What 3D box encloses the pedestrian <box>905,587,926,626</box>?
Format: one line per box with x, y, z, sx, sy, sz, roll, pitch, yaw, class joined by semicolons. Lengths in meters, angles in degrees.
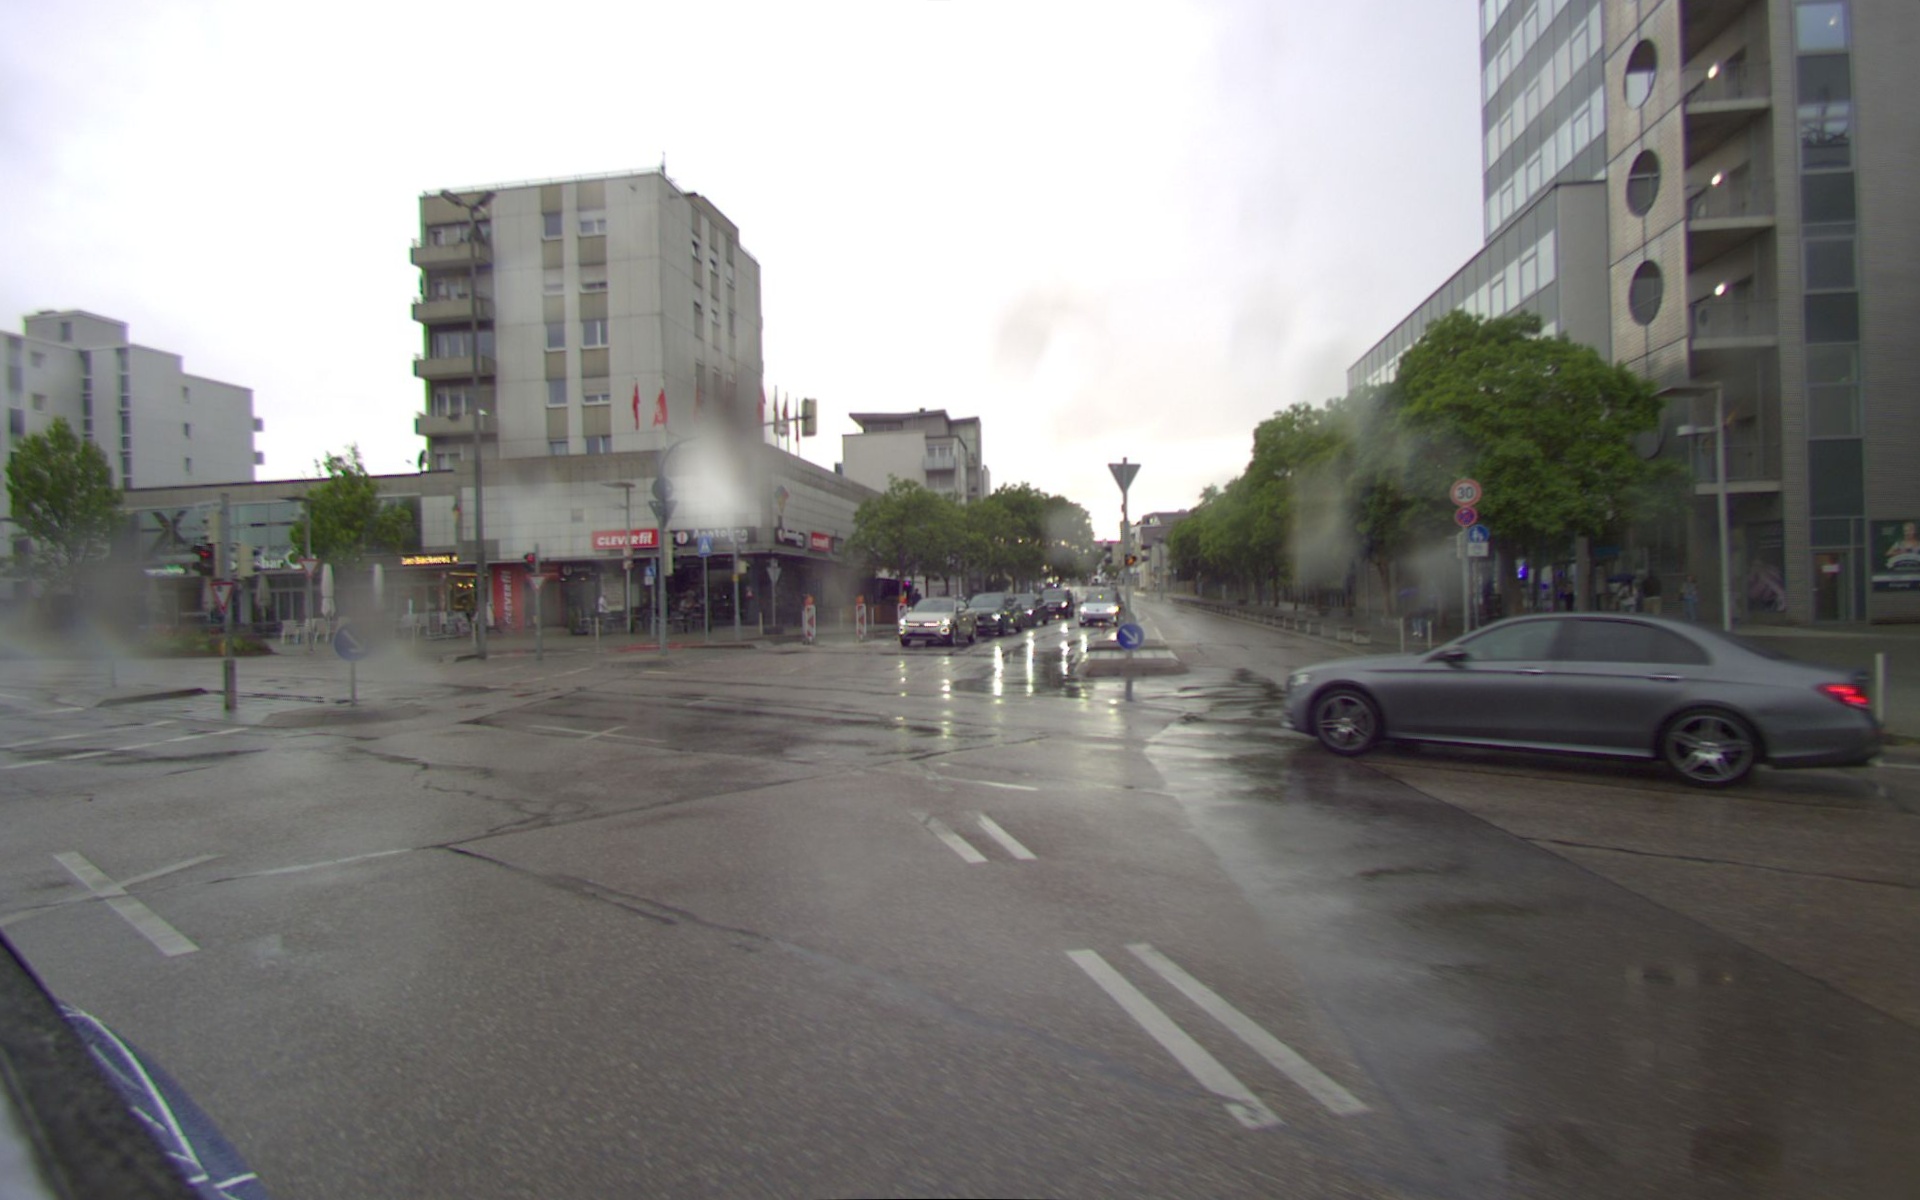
-2.224;0.336;50.494;0.804;1.908;0.713;-2;-1;27;pedestrian

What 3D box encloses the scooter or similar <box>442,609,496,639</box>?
-21.132;1.023;43.661;0.636;1.183;2.584;-2;0;11;scooter or similar

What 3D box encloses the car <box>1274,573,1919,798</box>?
5.744;0.664;9.638;4.896;1.644;1.902;-1;0;38;car

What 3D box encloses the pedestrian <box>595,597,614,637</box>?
-15.723;0.755;44.783;0.703;1.706;0.659;-3;0;-22;pedestrian

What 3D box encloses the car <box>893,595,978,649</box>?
-0.725;0.687;33.004;1.850;1.607;4.190;-1;0;11;car

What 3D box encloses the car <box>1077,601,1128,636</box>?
6.478;0.814;45.772;1.757;1.431;4.038;-1;0;16;car

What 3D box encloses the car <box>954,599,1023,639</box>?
1.172;0.705;39.650;1.853;1.431;4.039;-1;0;15;car

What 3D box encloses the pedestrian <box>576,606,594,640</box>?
-15.464;0.932;41.726;0.537;1.358;0.490;0;1;43;pedestrian

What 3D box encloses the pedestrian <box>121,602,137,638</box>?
-43.557;1.051;53.049;0.497;1.862;0.424;-2;0;20;pedestrian

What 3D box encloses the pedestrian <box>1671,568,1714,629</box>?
23.194;-0.044;32.045;0.745;1.882;0.831;-1;-1;8;pedestrian

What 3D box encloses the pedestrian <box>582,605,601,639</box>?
-15.035;0.900;41.303;0.537;1.358;0.490;-2;0;45;pedestrian

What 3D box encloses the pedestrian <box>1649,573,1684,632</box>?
23.056;0.074;33.030;0.752;1.882;0.823;-5;-2;39;pedestrian

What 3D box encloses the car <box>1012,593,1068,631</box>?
3.747;0.503;46.601;1.853;1.607;3.981;-2;0;15;car

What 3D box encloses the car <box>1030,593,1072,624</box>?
5.094;0.468;56.413;1.700;1.607;3.982;-2;0;14;car

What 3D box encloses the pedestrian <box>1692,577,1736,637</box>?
24.164;0.226;32.433;0.819;1.882;0.756;-1;-1;-18;pedestrian

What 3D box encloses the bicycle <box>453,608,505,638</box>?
-21.858;1.021;46.030;0.689;1.232;2.543;-2;0;12;bicycle

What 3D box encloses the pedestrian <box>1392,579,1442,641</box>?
15.462;0.323;34.293;1.152;2.029;1.325;-2;0;7;pedestrian
